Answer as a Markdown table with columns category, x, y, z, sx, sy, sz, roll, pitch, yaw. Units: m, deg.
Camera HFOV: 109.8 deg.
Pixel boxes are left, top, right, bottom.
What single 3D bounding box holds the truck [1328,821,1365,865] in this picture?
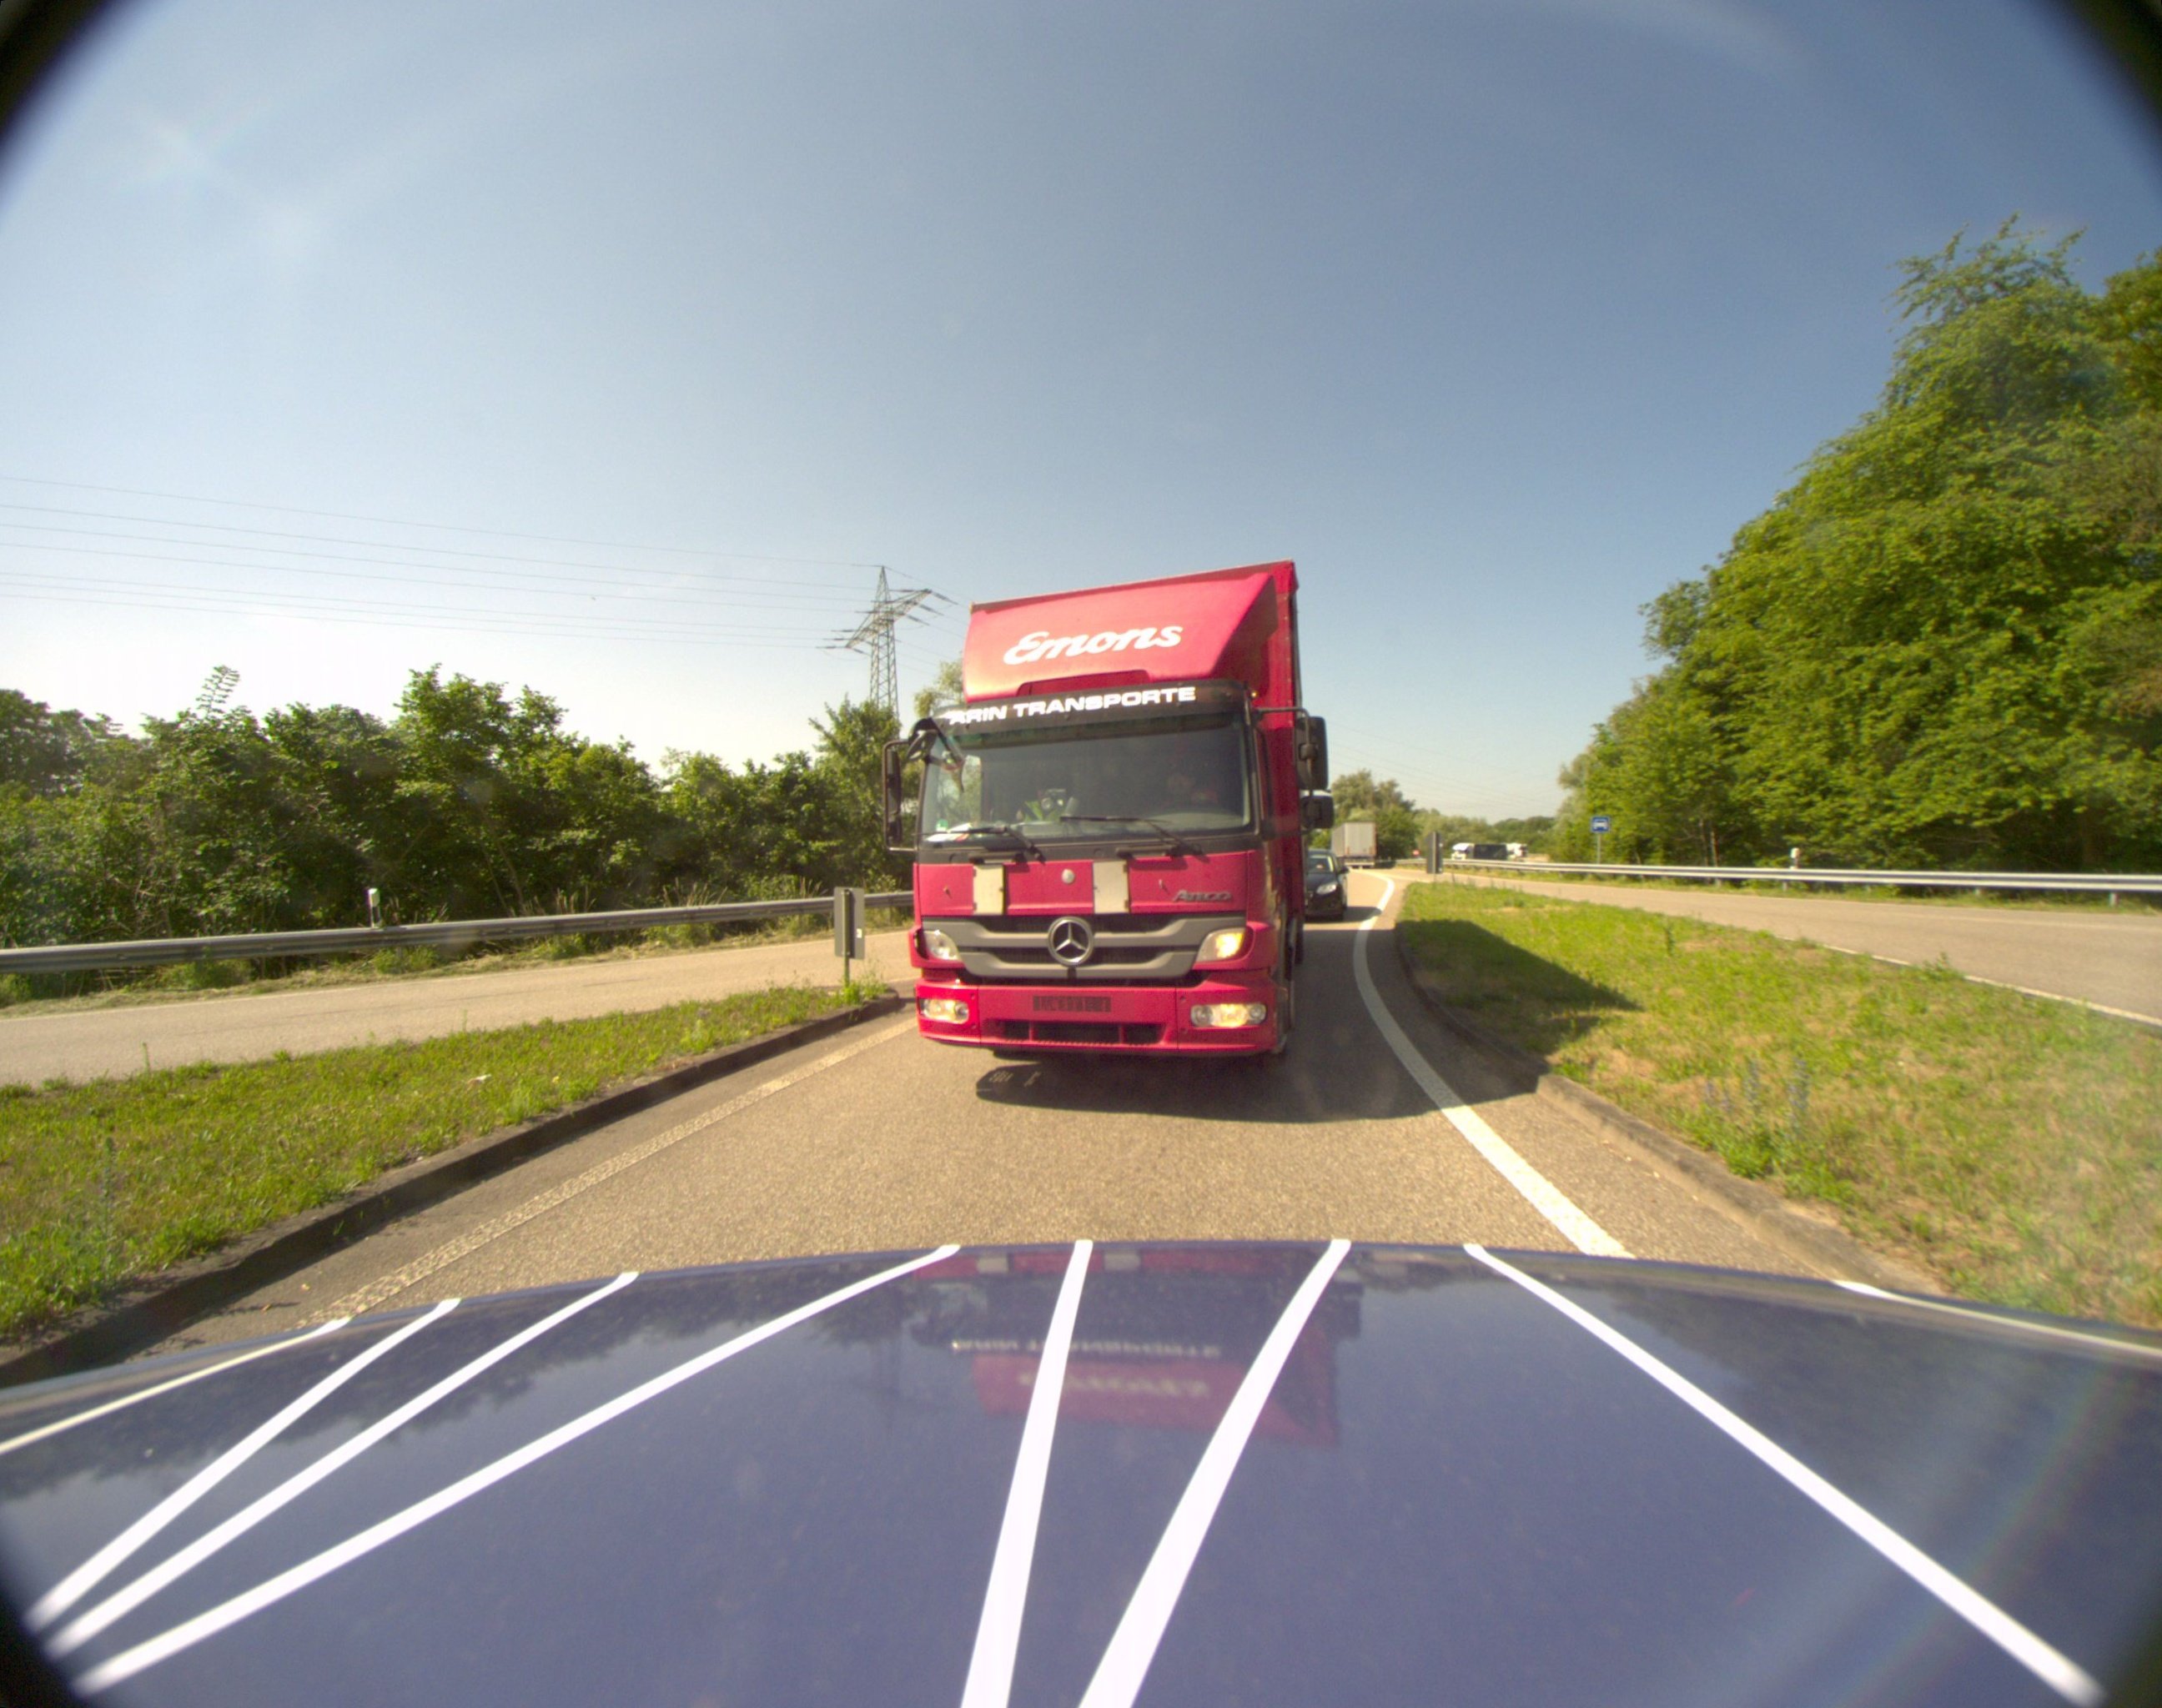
| category | x | y | z | sx | sy | sz | roll | pitch | yaw |
| --- | --- | --- | --- | --- | --- | --- | --- | --- | --- |
| truck | 26.851 | -1.094 | 77.002 | 2.935 | 4.222 | 5.738 | 1 | 1 | 14 |

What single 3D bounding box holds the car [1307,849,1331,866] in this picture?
| category | x | y | z | sx | sy | sz | roll | pitch | yaw |
| --- | --- | --- | --- | --- | --- | --- | --- | --- | --- |
| car | 20.874 | 0.263 | 66.753 | 1.785 | 1.377 | 4.383 | -2 | 0 | 16 |

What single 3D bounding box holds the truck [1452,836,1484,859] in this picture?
| category | x | y | z | sx | sy | sz | roll | pitch | yaw |
| --- | --- | --- | --- | --- | --- | --- | --- | --- | --- |
| truck | 71.591 | -1.155 | 140.475 | 5.743 | 4.214 | 2.932 | 0 | 1 | -36 |

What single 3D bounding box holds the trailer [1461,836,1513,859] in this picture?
| category | x | y | z | sx | sy | sz | roll | pitch | yaw |
| --- | --- | --- | --- | --- | --- | --- | --- | --- | --- |
| trailer | 77.402 | -1.160 | 144.712 | 14.007 | 4.216 | 2.922 | 0 | 2 | -36 |

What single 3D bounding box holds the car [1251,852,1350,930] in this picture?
| category | x | y | z | sx | sy | sz | roll | pitch | yaw |
| --- | --- | --- | --- | --- | --- | --- | --- | --- | --- |
| car | 4.851 | 0.714 | 16.431 | 1.785 | 1.406 | 4.005 | -1 | 0 | 20 |

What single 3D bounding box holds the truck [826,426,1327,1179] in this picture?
| category | x | y | z | sx | sy | sz | roll | pitch | yaw |
| --- | --- | --- | --- | --- | --- | --- | --- | --- | --- |
| truck | 1.195 | -0.266 | 8.496 | 2.686 | 3.640 | 9.273 | -1 | 0 | 17 |

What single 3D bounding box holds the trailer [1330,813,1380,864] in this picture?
| category | x | y | z | sx | sy | sz | roll | pitch | yaw |
| --- | --- | --- | --- | --- | --- | --- | --- | --- | --- |
| trailer | 25.153 | -1.355 | 70.429 | 2.954 | 4.243 | 13.996 | 1 | 1 | 14 |
